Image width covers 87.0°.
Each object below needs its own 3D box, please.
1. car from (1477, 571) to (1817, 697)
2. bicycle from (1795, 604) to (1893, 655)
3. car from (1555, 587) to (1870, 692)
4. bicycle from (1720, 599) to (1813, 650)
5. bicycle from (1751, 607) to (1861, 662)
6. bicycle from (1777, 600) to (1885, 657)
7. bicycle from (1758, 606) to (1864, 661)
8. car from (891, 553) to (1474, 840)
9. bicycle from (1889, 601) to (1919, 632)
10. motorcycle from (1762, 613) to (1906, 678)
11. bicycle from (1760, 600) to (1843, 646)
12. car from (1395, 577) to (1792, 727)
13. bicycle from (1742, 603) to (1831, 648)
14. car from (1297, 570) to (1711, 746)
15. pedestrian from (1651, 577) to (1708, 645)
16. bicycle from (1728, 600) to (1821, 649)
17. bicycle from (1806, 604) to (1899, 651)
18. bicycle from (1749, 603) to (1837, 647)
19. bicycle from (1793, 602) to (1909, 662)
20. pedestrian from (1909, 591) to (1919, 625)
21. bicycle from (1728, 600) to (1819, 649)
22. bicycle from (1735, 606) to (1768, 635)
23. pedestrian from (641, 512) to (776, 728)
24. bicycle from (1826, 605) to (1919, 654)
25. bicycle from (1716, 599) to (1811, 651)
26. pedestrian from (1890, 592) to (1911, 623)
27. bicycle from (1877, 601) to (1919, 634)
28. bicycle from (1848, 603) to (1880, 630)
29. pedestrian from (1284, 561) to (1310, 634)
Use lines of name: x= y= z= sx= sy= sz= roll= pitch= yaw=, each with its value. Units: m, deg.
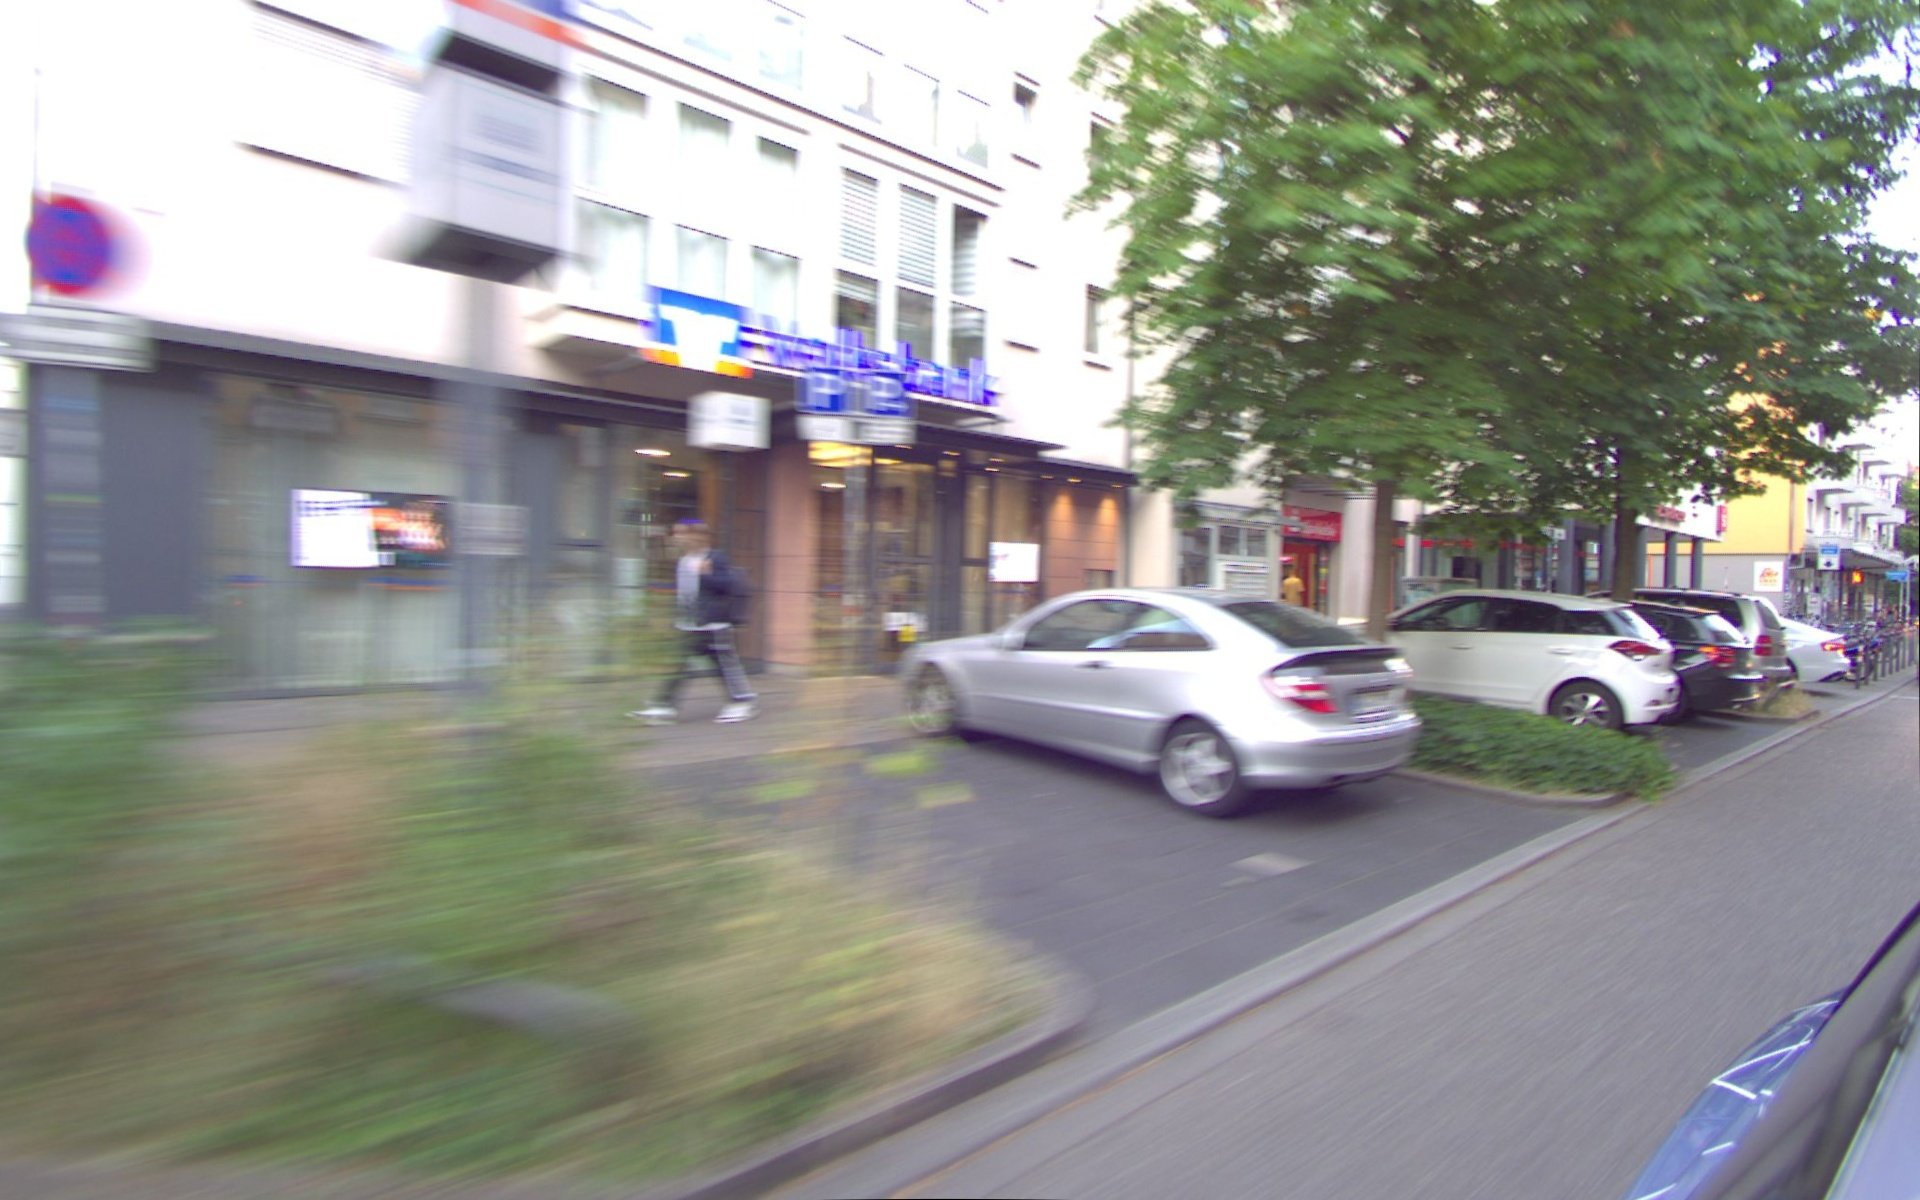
car: x=11.391 y=0.462 z=17.044 sx=1.716 sy=1.668 sz=4.407 roll=1 pitch=3 yaw=-42
bicycle: x=22.866 y=0.743 z=26.196 sx=0.695 sy=1.131 sz=1.812 roll=0 pitch=3 yaw=-43
car: x=13.635 y=0.620 z=18.521 sx=4.423 sy=1.473 sz=1.752 roll=5 pitch=3 yaw=43
bicycle: x=20.309 y=0.595 z=25.494 sx=0.643 sy=1.131 sz=1.724 roll=0 pitch=3 yaw=-44
bicycle: x=19.166 y=0.753 z=22.971 sx=0.555 sy=1.034 sz=1.778 roll=0 pitch=5 yaw=-38
bicycle: x=21.286 y=0.678 z=24.775 sx=0.719 sy=1.196 sz=1.797 roll=1 pitch=5 yaw=-31
bicycle: x=19.625 y=0.754 z=23.371 sx=0.655 sy=1.043 sz=1.725 roll=0 pitch=5 yaw=-38
car: x=1.432 y=0.483 z=7.839 sx=1.848 sy=1.470 sz=4.098 roll=1 pitch=3 yaw=-39
bicycle: x=36.760 y=0.655 z=38.606 sx=0.644 sy=1.148 sz=1.948 roll=2 pitch=3 yaw=-5
motorcycle: x=17.484 y=0.885 z=20.319 sx=2.050 sy=1.091 sz=0.656 roll=4 pitch=3 yaw=34
bicycle: x=23.618 y=0.640 z=28.438 sx=1.719 sy=1.145 sz=0.571 roll=4 pitch=3 yaw=37
car: x=8.025 y=0.540 z=13.085 sx=1.798 sy=1.474 sz=3.992 roll=1 pitch=3 yaw=-44
bicycle: x=22.338 y=0.675 z=27.368 sx=0.642 sy=1.066 sz=1.727 roll=0 pitch=3 yaw=-38
car: x=6.067 y=0.518 z=11.563 sx=3.795 sy=1.470 sz=1.708 roll=6 pitch=3 yaw=44
pedestrian: x=19.358 y=0.292 z=27.252 sx=0.899 sy=1.744 sz=0.773 roll=4 pitch=1 yaw=11
bicycle: x=21.087 y=0.617 z=26.220 sx=0.642 sy=1.131 sz=1.727 roll=0 pitch=3 yaw=-38
bicycle: x=24.057 y=0.718 z=27.299 sx=0.694 sy=1.131 sz=1.727 roll=0 pitch=3 yaw=-38
bicycle: x=22.849 y=0.678 z=27.786 sx=0.642 sy=1.066 sz=1.727 roll=0 pitch=3 yaw=-38
bicycle: x=20.957 y=0.728 z=23.843 sx=0.729 sy=1.196 sz=1.876 roll=0 pitch=5 yaw=-36
pedestrian: x=52.268 y=0.427 z=55.118 sx=0.846 sy=1.850 sz=0.710 roll=-1 pitch=3 yaw=-42
bicycle: x=21.431 y=0.620 z=26.678 sx=0.642 sy=1.131 sz=1.727 roll=0 pitch=3 yaw=-38
bicycle: x=31.583 y=0.796 z=40.371 sx=1.927 sy=1.080 sz=0.564 roll=-1 pitch=2 yaw=-37
pedestrian: x=-2.162 y=0.137 z=8.783 sx=0.720 sy=1.737 sz=0.958 roll=3 pitch=2 yaw=16
bicycle: x=23.763 y=0.747 z=26.348 sx=0.695 sy=1.131 sz=1.725 roll=0 pitch=3 yaw=-43
bicycle: x=19.821 y=0.586 z=24.976 sx=0.643 sy=1.131 sz=1.724 roll=0 pitch=3 yaw=-44
pedestrian: x=51.885 y=0.403 z=55.826 sx=0.732 sy=1.686 sz=0.710 roll=-1 pitch=3 yaw=-42
bicycle: x=35.892 y=0.664 z=38.193 sx=0.644 sy=1.148 sz=1.948 roll=2 pitch=3 yaw=-5
bicycle: x=45.096 y=0.805 z=50.495 sx=0.907 sy=1.210 sz=1.690 roll=4 pitch=3 yaw=34
pedestrian: x=8.397 y=-0.066 z=25.244 sx=0.579 sy=1.775 sz=0.624 roll=0 pitch=1 yaw=16
